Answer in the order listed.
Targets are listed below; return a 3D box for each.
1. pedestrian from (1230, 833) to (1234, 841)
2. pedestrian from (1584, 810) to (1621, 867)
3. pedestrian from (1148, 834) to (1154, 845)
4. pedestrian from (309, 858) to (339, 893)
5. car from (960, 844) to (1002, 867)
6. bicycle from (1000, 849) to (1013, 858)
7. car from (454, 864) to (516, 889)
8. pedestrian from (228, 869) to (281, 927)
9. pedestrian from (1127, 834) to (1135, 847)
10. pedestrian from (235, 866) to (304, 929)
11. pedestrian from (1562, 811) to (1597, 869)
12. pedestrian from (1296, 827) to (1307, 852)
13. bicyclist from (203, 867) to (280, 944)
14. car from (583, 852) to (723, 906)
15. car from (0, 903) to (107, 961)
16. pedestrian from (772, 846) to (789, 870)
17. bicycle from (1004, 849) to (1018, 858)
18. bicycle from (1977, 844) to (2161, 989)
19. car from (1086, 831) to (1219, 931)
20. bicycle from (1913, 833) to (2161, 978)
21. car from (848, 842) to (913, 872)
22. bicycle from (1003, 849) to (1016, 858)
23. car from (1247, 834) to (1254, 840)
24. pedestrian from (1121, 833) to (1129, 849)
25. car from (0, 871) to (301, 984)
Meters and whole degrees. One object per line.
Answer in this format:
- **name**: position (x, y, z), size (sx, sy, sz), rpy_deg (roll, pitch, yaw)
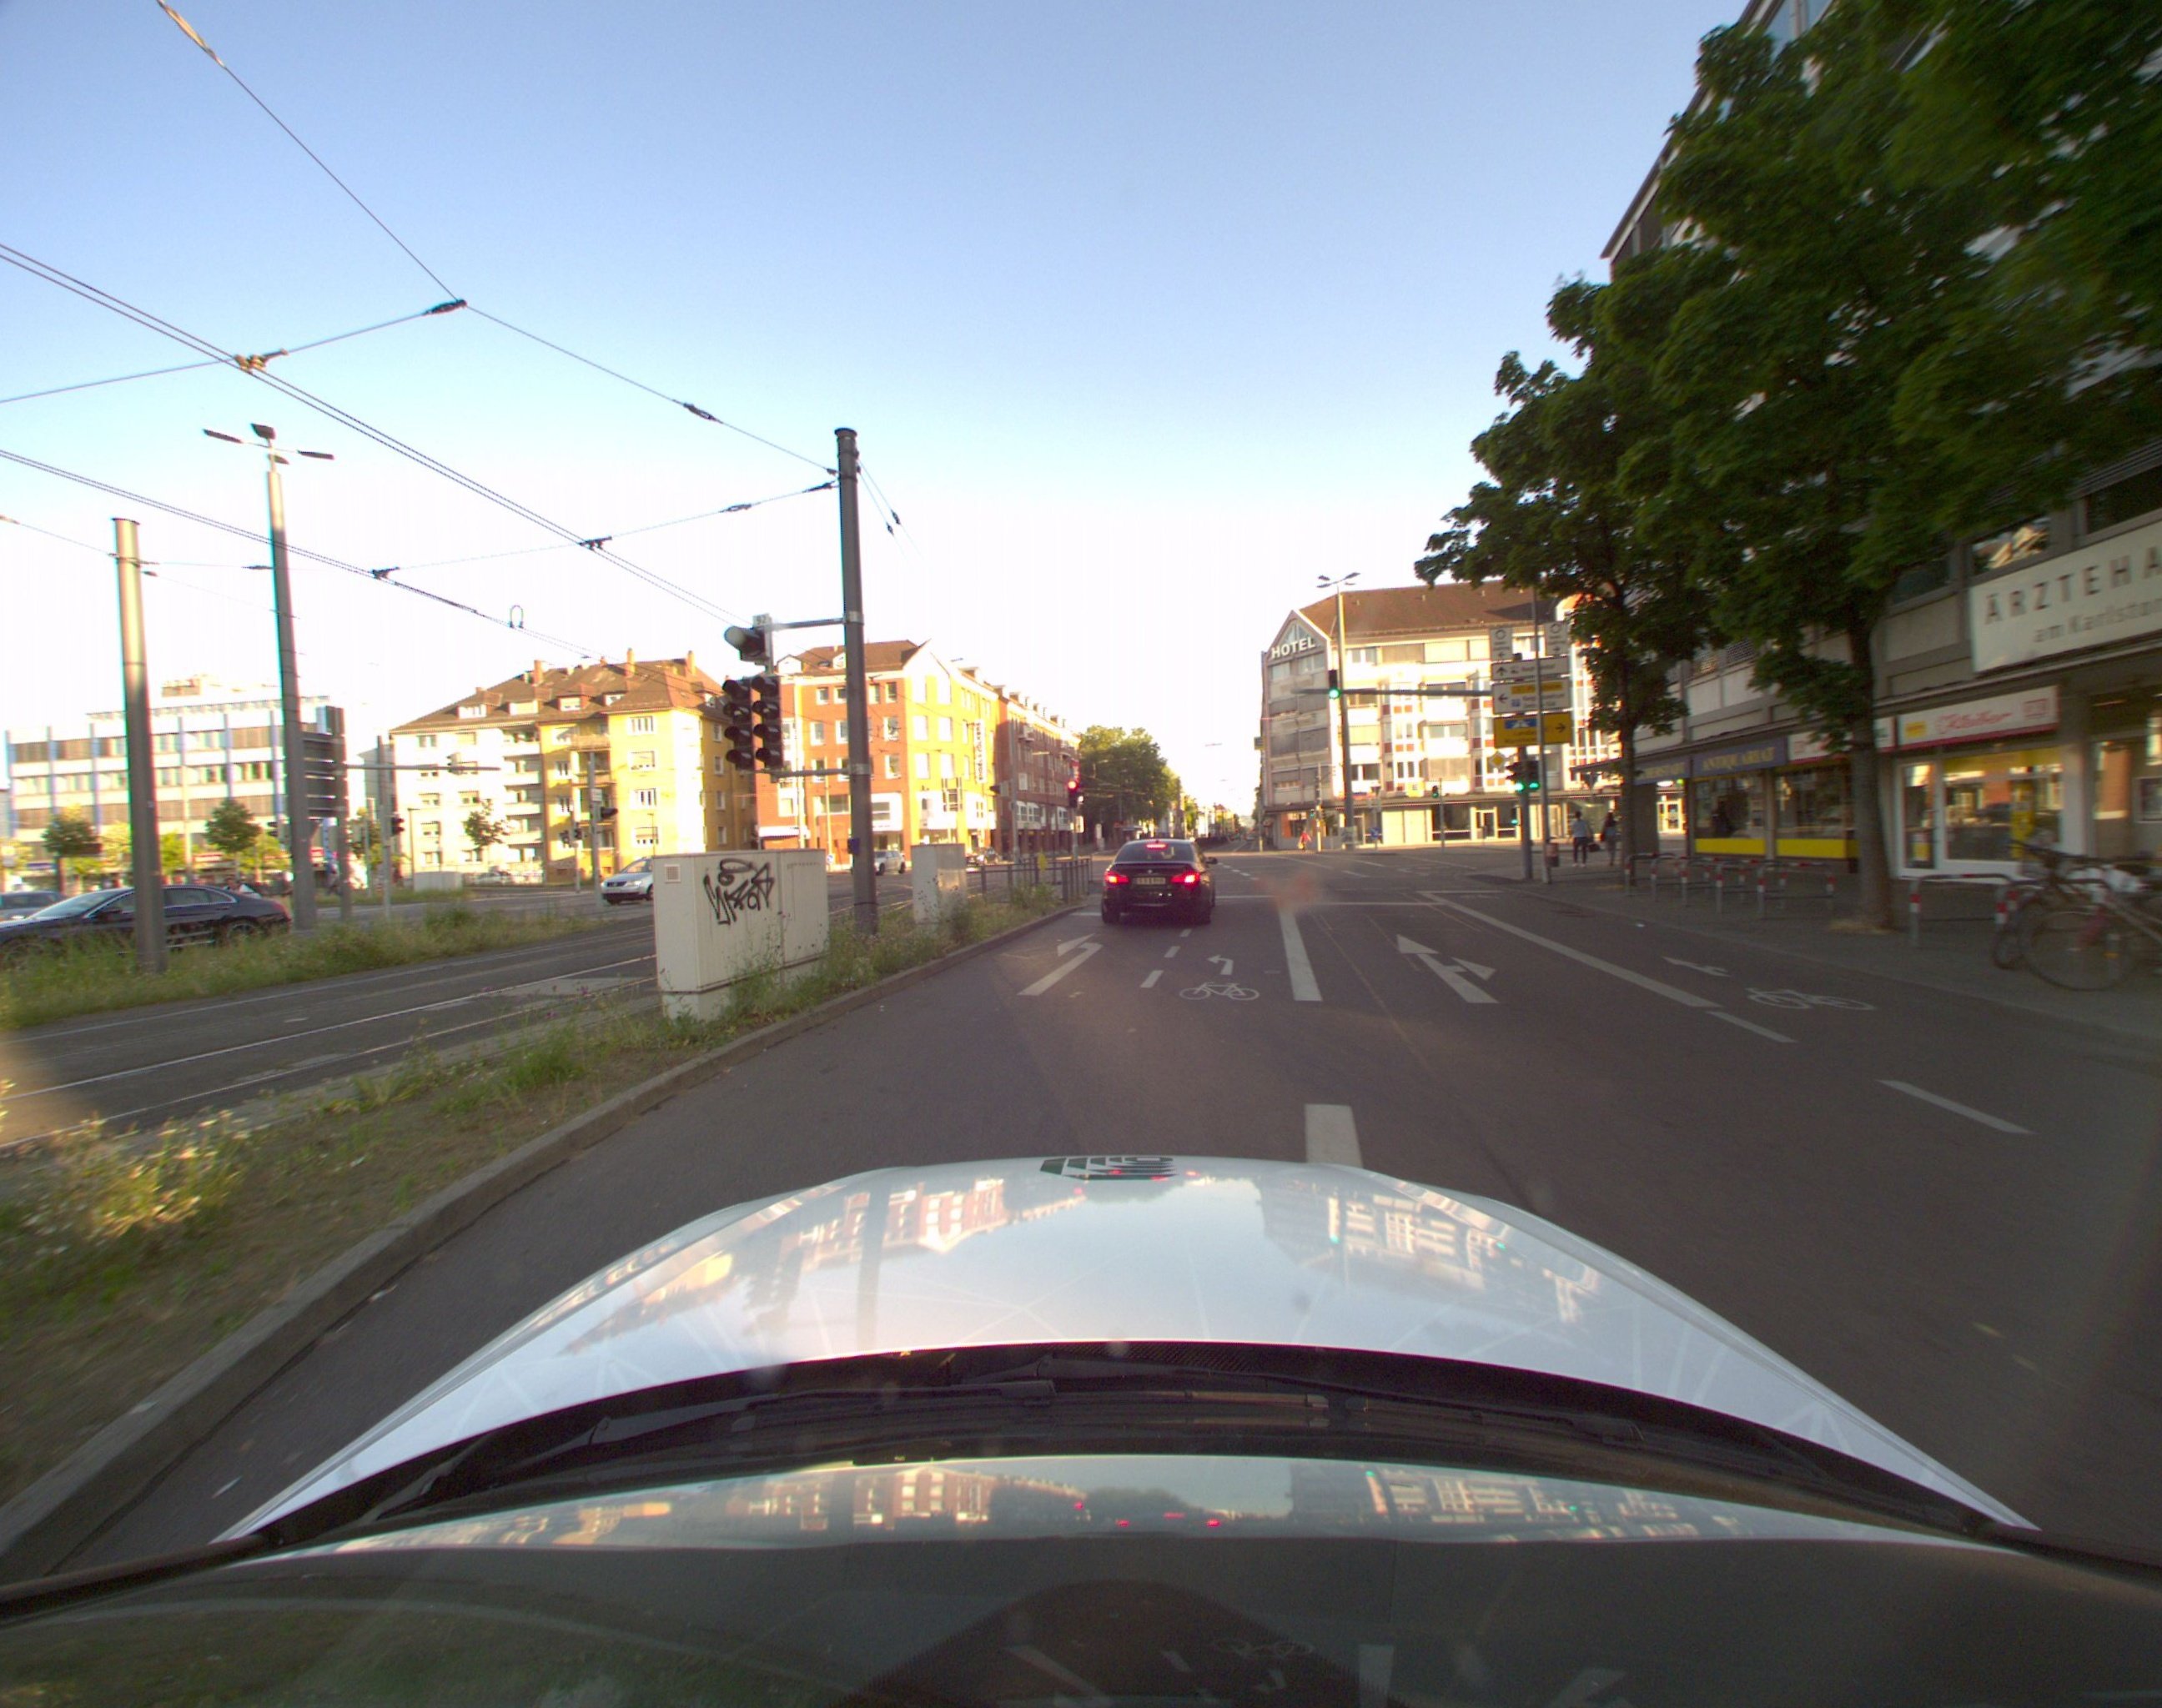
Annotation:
- **pedestrian**: position (36.553, -4.085, 197.050), size (0.908, 2.013, 0.890), rpy_deg (-2, 1, 11)
- **pedestrian**: position (15.628, -0.469, 24.434), size (0.717, 1.666, 0.674), rpy_deg (-2, 1, 15)
- **pedestrian**: position (11.033, -2.276, 128.662), size (0.718, 1.681, 0.995), rpy_deg (-2, 1, 14)
- **pedestrian**: position (-41.051, 1.151, 44.156), size (0.718, 1.867, 0.883), rpy_deg (-3, 1, -8)
- **car**: position (-7.851, 0.113, 64.115), size (1.981, 1.584, 4.492), rpy_deg (-3, 1, 10)
- **bicycle**: position (-7.670, -0.034, 83.929), size (1.278, 0.922, 0.350), rpy_deg (0, 1, 8)
- **car**: position (-52.144, 1.981, 71.283), size (3.967, 2.013, 2.004), rpy_deg (-1, 1, 5)
- **pedestrian**: position (-28.936, 1.530, 28.523), size (0.840, 1.910, 0.895), rpy_deg (-2, 1, 1)
- **pedestrian**: position (6.691, -1.848, 109.404), size (0.981, 1.681, 0.728), rpy_deg (-2, 1, 10)
- **pedestrian**: position (-26.723, 1.407, 26.844), size (1.096, 1.944, 1.022), rpy_deg (-3, 1, -7)
- **pedestrian**: position (14.823, -0.413, 24.209), size (0.679, 1.666, 0.674), rpy_deg (-2, 1, 15)
- **pedestrian**: position (16.872, -1.122, 62.436), size (0.680, 1.854, 0.673), rpy_deg (-2, 1, 8)
- **bicyclist**: position (-19.658, 1.185, 19.081), size (0.657, 1.688, 0.984), rpy_deg (-2, 1, 18)
- **car**: position (-14.962, 0.827, 28.753), size (1.978, 1.584, 4.132), rpy_deg (-2, 1, 16)
- **car**: position (-34.906, 2.531, 27.198), size (4.508, 1.617, 2.012), rpy_deg (-2, 1, 27)
- **pedestrian**: position (-23.398, 0.300, 63.370), size (0.936, 1.867, 0.839), rpy_deg (-1, 1, 3)
- **bicycle**: position (-7.373, -0.100, 85.998), size (1.410, 0.922, 0.443), rpy_deg (-1, 1, -5)
- **bicycle**: position (8.817, 0.485, 6.597), size (1.978, 1.110, 0.672), rpy_deg (-2, 1, 25)
- **car**: position (1.471, 0.370, 15.093), size (1.980, 1.584, 4.014), rpy_deg (0, 2, 12)
- **bicycle**: position (9.102, 0.458, 7.500), size (1.887, 1.235, 0.672), rpy_deg (-2, 1, 23)
- **car**: position (-11.198, 0.135, 45.806), size (1.656, 1.447, 4.220), rpy_deg (-2, 1, 16)
- **bicycle**: position (-7.433, -0.050, 84.433), size (1.283, 0.922, 0.349), rpy_deg (-1, 1, -5)
- **car**: position (41.607, -4.184, 200.036), size (1.463, 1.514, 3.106), rpy_deg (-2, 1, 11)
- **pedestrian**: position (5.643, -1.690, 104.148), size (0.981, 2.013, 0.728), rpy_deg (-1, 1, 10)
- **car**: position (-17.733, 1.251, 14.896), size (1.980, 1.584, 4.602), rpy_deg (-3, 1, 11)
